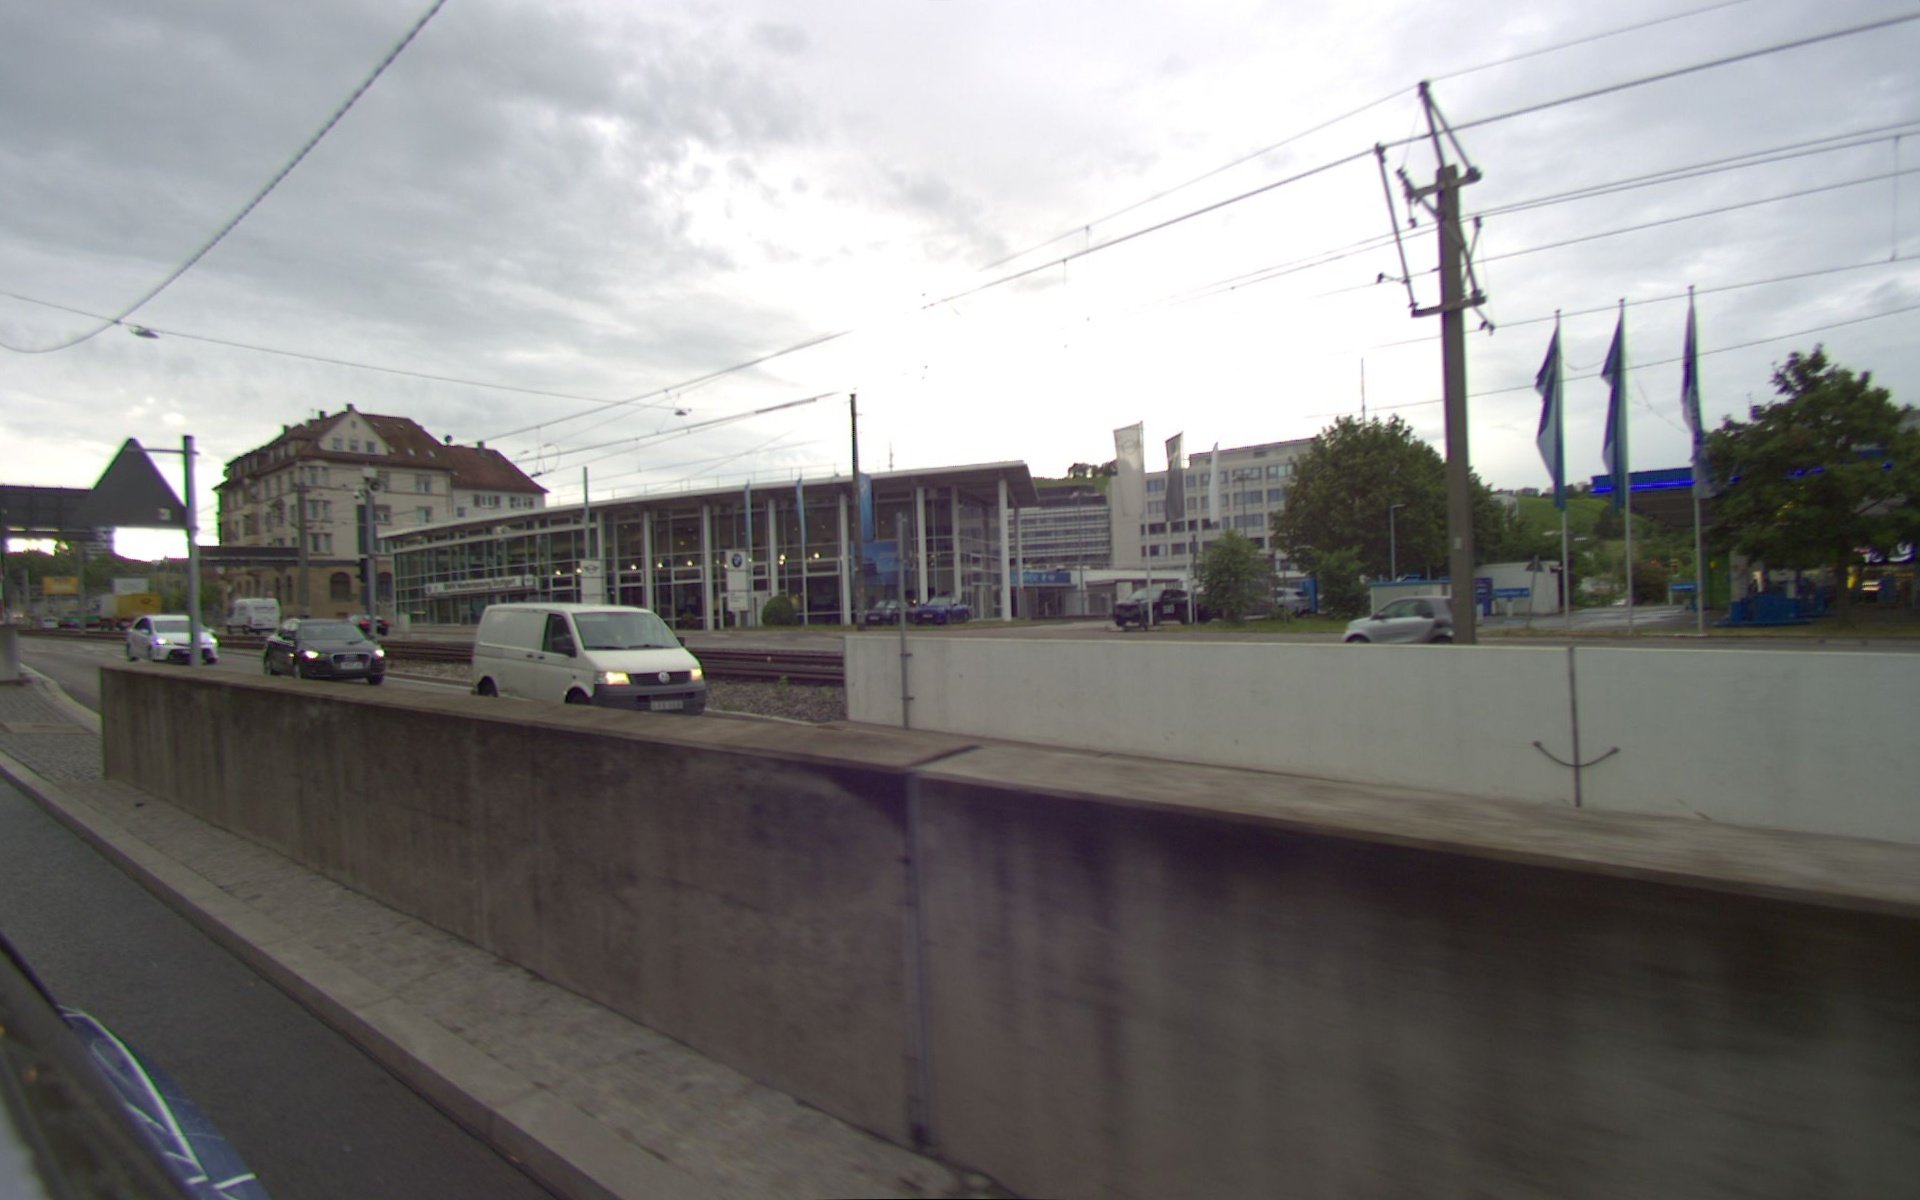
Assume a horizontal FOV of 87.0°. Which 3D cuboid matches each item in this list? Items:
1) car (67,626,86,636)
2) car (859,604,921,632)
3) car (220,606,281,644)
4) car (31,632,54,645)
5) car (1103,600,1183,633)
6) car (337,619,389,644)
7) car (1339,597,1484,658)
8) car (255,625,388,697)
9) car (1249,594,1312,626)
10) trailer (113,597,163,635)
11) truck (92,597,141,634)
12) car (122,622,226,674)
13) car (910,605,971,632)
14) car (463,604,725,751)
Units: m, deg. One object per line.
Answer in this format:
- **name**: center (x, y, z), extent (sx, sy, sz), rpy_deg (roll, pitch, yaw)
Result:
- **car**: center (-131.090, 4.644, 150.103), extent (4.329, 1.444, 1.589), rpy_deg (-1, -1, 41)
- **car**: center (-3.534, 0.908, 51.993), extent (1.690, 1.244, 3.974), rpy_deg (-4, -1, 20)
- **car**: center (-50.719, 1.767, 72.314), extent (6.160, 2.618, 2.030), rpy_deg (-1, 0, 40)
- **car**: center (-138.086, 5.731, 152.278), extent (5.189, 1.888, 1.973), rpy_deg (-1, -1, 40)
- **car**: center (7.829, 0.678, 43.214), extent (1.717, 1.284, 3.476), rpy_deg (-1, 0, 45)
- **car**: center (-39.442, 2.064, 66.825), extent (4.337, 1.527, 1.723), rpy_deg (-1, -1, 41)
- **car**: center (10.432, 0.613, 23.446), extent (2.798, 1.309, 1.368), rpy_deg (-1, 0, 39)
- **car**: center (-15.529, 1.409, 24.544), extent (3.894, 1.585, 1.686), rpy_deg (-1, -1, 41)
- **car**: center (16.538, 0.520, 52.240), extent (2.798, 1.585, 1.368), rpy_deg (-1, 0, 39)
- **trailer**: center (-90.038, 1.778, 110.766), extent (9.076, 4.082, 2.656), rpy_deg (-1, -1, 40)
- **truck**: center (-97.479, 1.830, 116.916), extent (10.135, 4.082, 2.655), rpy_deg (-1, -1, 40)
- **car**: center (-26.216, 1.560, 33.704), extent (4.316, 1.585, 1.956), rpy_deg (-1, -1, 41)
- **car**: center (-0.937, 0.897, 50.641), extent (1.747, 1.244, 3.974), rpy_deg (0, 0, 20)
- **car**: center (-5.915, 1.100, 16.045), extent (4.716, 1.973, 1.889), rpy_deg (-1, -1, 42)
